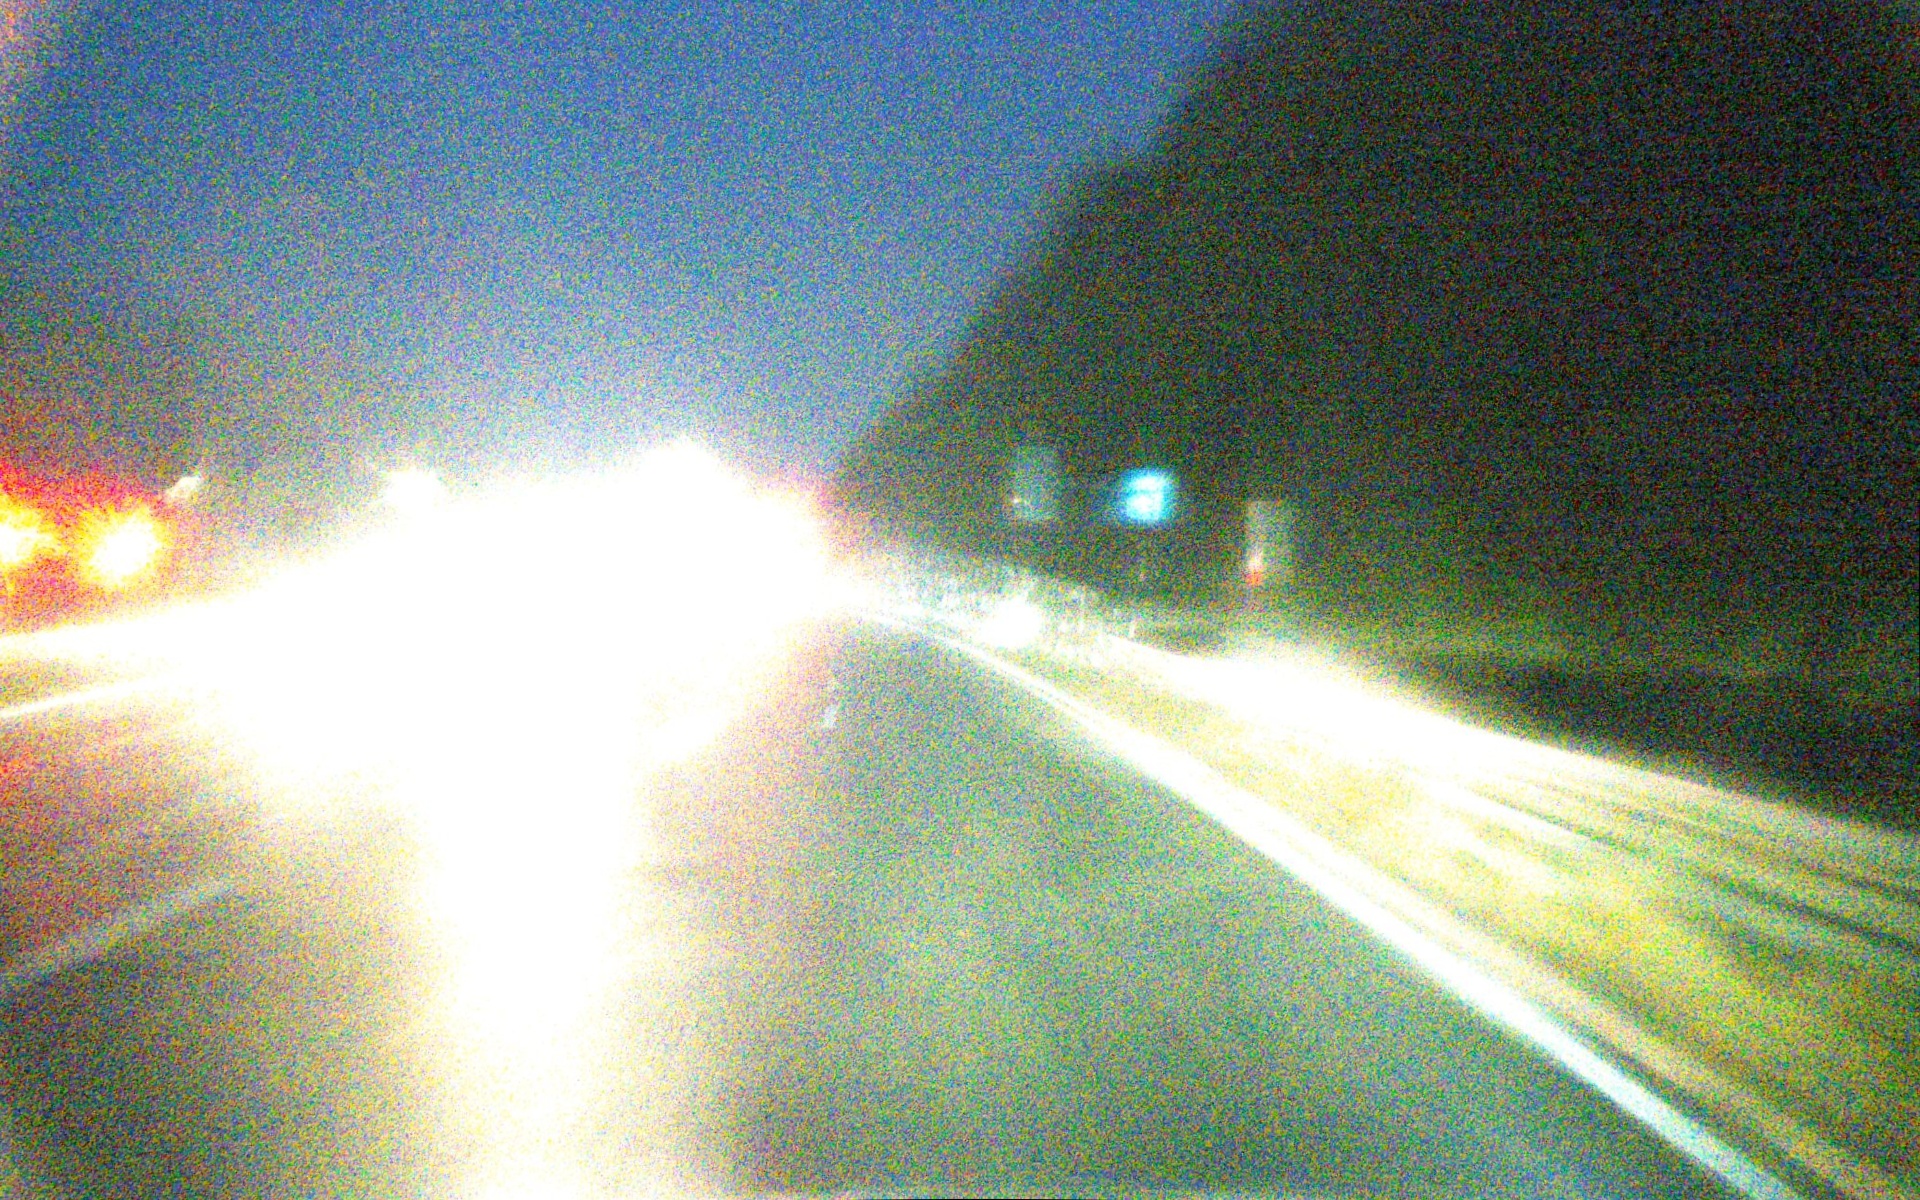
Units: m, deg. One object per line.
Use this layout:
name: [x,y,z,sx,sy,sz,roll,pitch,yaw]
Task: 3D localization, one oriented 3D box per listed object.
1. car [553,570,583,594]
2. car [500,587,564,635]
car: [-24.731,-1.107,104.343,1.801,1.467,4.475,1,0,-14]
car: [-15.217,0.366,58.954,1.847,1.628,3.890,1,0,-10]
